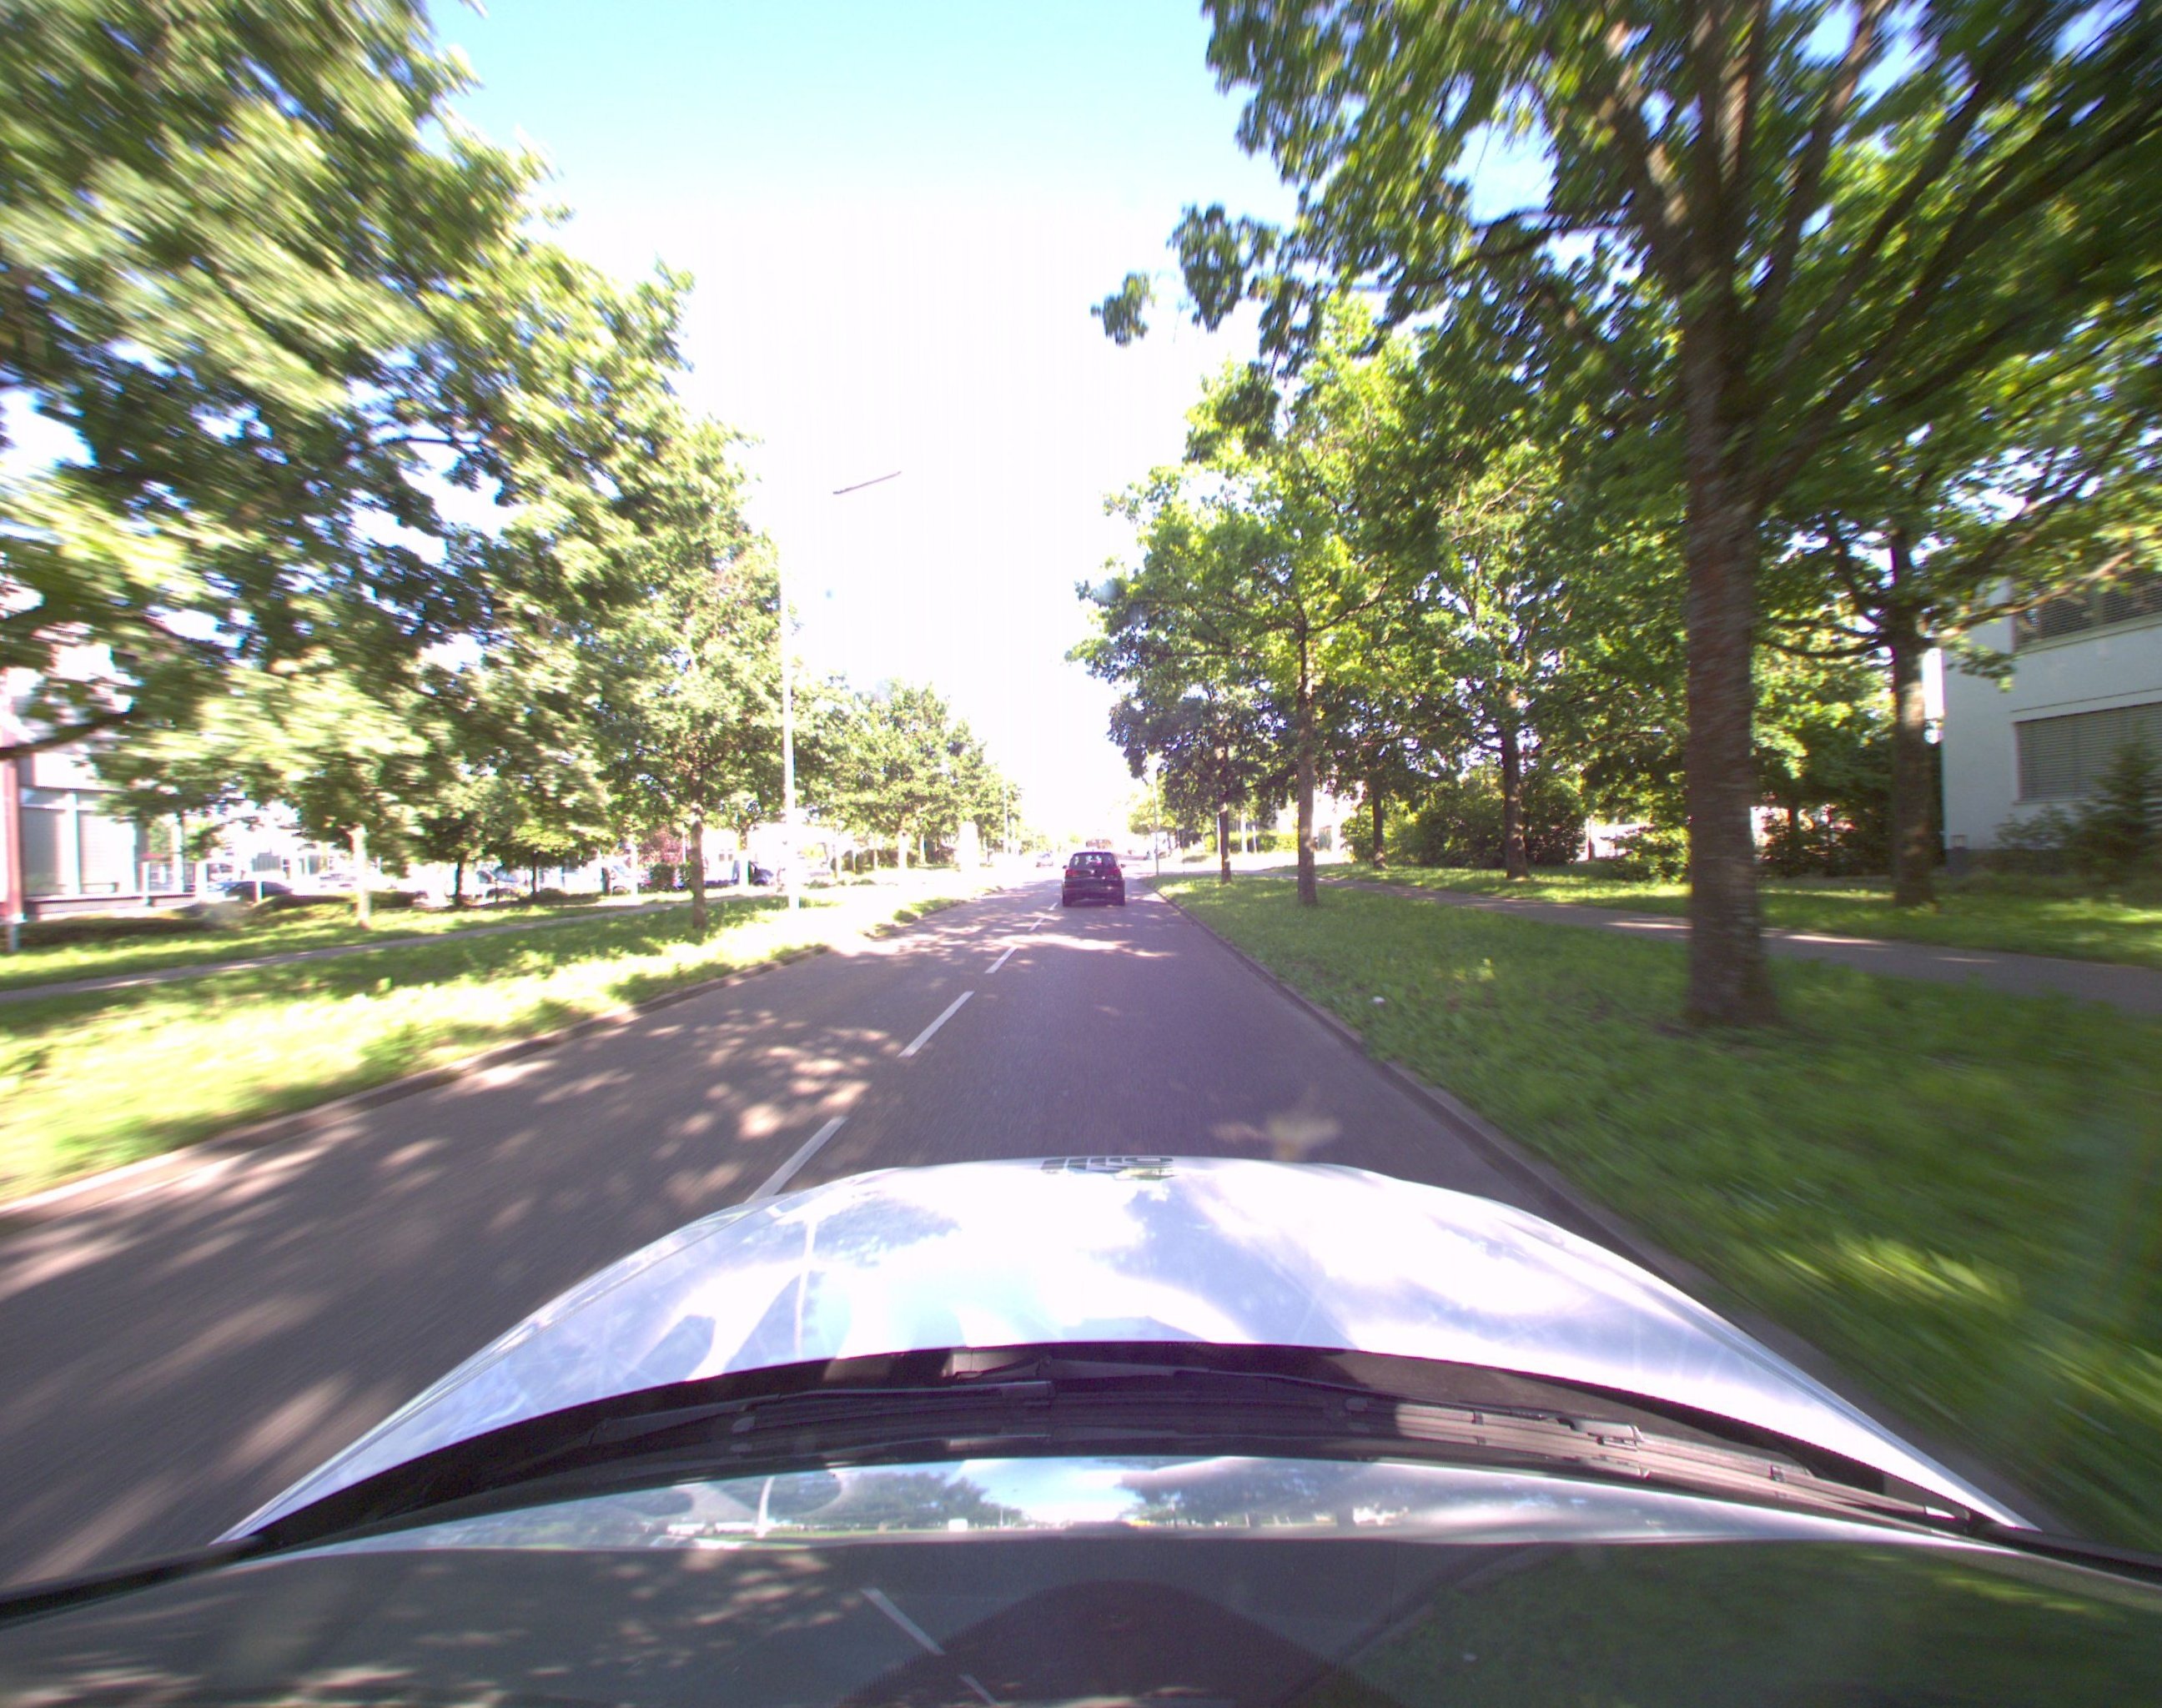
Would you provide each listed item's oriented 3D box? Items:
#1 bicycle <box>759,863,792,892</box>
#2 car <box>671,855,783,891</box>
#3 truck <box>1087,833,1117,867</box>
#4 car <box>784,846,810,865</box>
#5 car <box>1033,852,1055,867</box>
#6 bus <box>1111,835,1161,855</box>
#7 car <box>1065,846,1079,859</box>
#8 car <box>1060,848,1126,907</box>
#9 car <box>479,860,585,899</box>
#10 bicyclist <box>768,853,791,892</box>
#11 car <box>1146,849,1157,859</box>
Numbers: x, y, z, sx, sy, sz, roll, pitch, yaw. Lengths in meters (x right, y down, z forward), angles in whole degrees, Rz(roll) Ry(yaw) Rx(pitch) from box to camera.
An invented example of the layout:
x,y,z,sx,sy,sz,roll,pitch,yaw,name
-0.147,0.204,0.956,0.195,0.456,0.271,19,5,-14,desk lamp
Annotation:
x,y,z,sx,sy,sz,roll,pitch,yaw,name
-14.391,1.091,38.434,0.714,1.321,1.992,-1,0,2,bicycle
-21.128,1.125,48.805,5.786,2.013,1.995,-1,0,-8,car
2.234,-0.454,82.617,2.500,3.243,8.162,-2,1,4,truck
-35.676,0.142,102.389,1.989,2.236,3.995,-2,0,-4,car
-3.911,0.613,87.295,1.986,1.455,4.002,-2,0,2,car
10.452,-1.725,156.304,9.095,3.778,3.379,-1,0,-7,bus
-1.446,-0.264,129.763,1.989,2.013,3.996,-1,0,-3,car
0.450,0.659,24.998,1.774,1.633,4.005,-1,1,4,car
-24.269,1.105,36.055,3.340,1.642,2.004,-1,0,7,car
-14.364,0.875,38.840,0.683,1.831,0.934,-1,0,1,bicyclist
9.572,0.002,110.724,1.446,1.406,2.858,-1,0,3,car
